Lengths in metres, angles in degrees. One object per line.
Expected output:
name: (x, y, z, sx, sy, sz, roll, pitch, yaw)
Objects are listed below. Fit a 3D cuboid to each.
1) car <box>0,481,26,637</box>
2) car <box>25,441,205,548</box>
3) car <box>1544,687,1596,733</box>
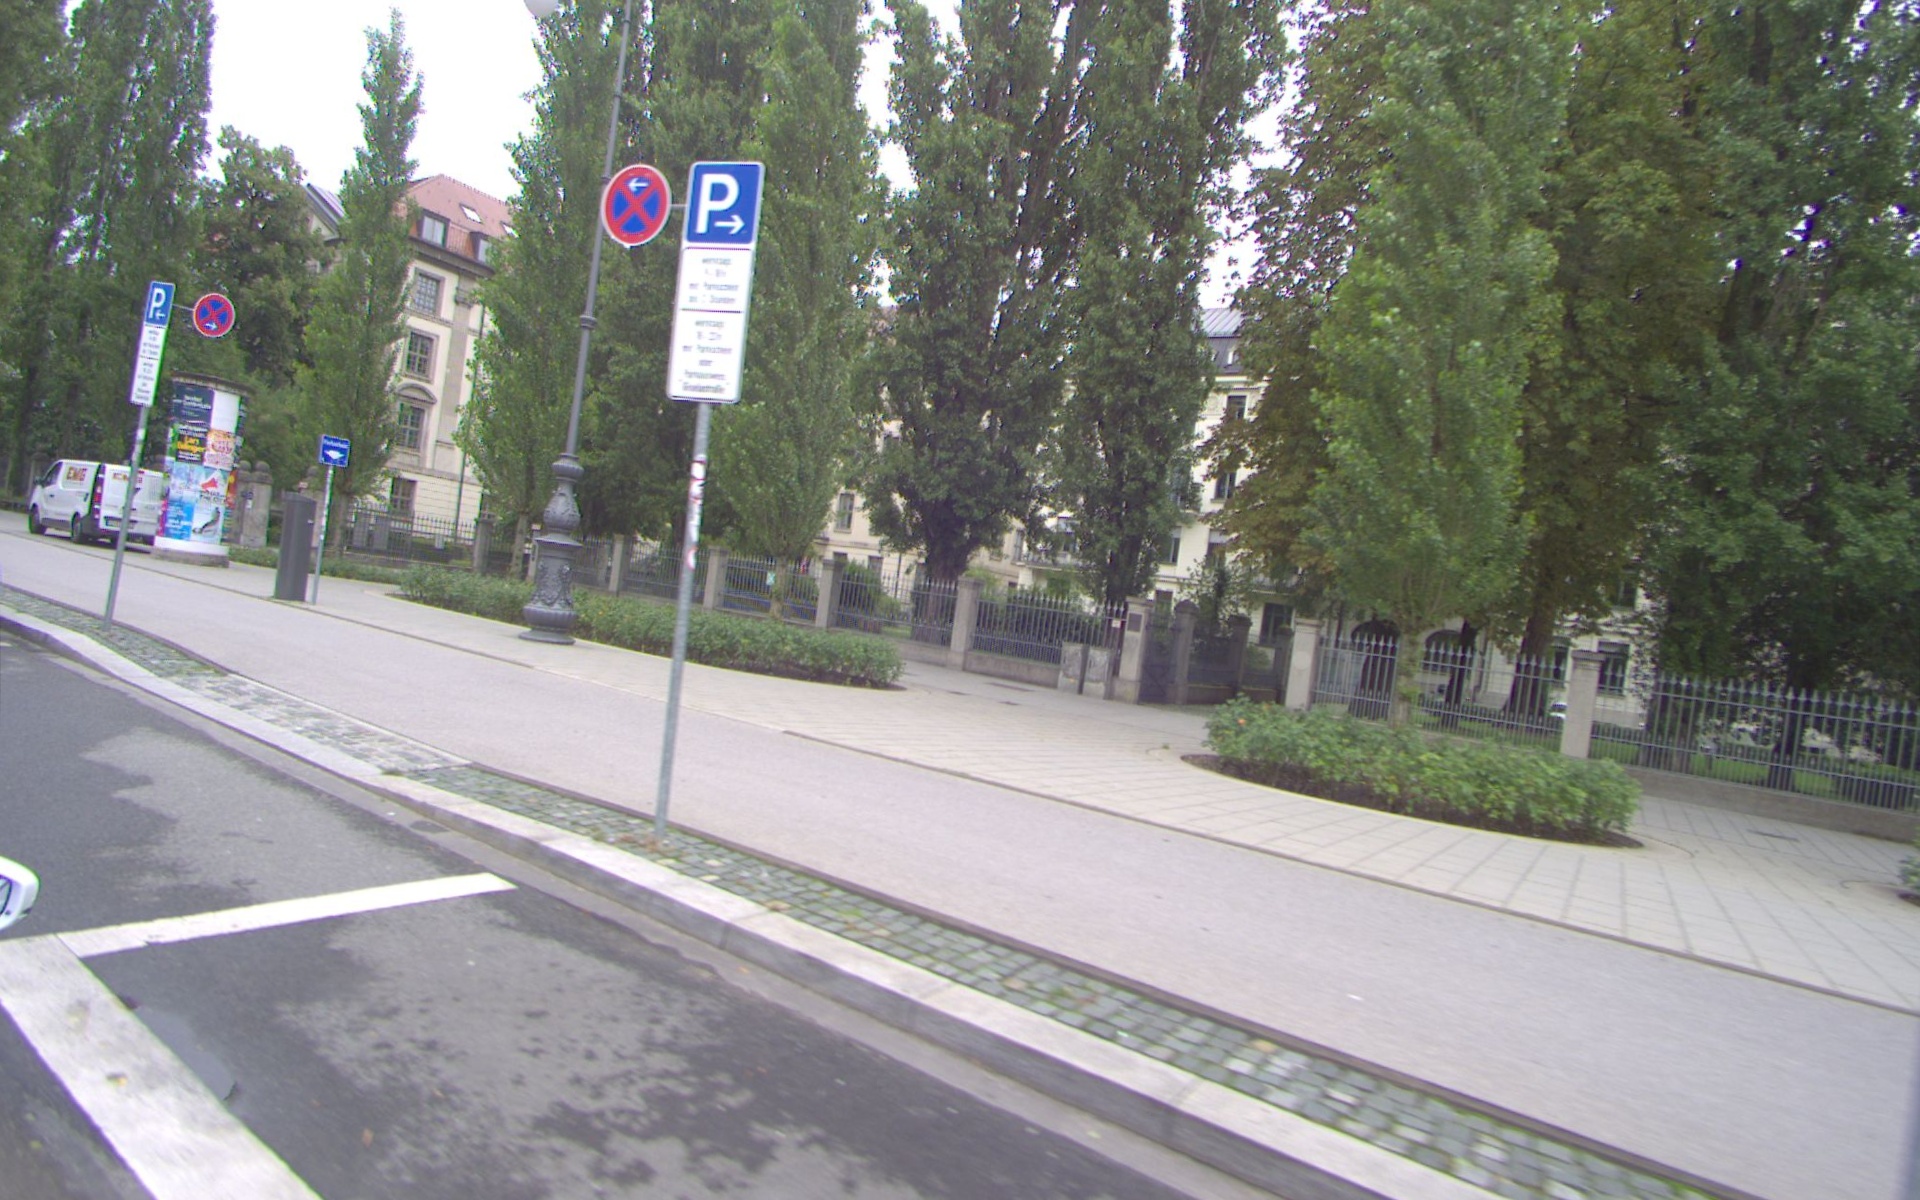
car: (-10.443, -0.659, 9.302, 4.301, 1.326, 1.736, 8, 1, 35)
car: (-20.731, -2.611, 24.624, 4.805, 1.967, 1.884, 8, -1, 33)
car: (29.144, 5.208, 48.020, 1.771, 1.791, 3.990, 9, 0, 33)
